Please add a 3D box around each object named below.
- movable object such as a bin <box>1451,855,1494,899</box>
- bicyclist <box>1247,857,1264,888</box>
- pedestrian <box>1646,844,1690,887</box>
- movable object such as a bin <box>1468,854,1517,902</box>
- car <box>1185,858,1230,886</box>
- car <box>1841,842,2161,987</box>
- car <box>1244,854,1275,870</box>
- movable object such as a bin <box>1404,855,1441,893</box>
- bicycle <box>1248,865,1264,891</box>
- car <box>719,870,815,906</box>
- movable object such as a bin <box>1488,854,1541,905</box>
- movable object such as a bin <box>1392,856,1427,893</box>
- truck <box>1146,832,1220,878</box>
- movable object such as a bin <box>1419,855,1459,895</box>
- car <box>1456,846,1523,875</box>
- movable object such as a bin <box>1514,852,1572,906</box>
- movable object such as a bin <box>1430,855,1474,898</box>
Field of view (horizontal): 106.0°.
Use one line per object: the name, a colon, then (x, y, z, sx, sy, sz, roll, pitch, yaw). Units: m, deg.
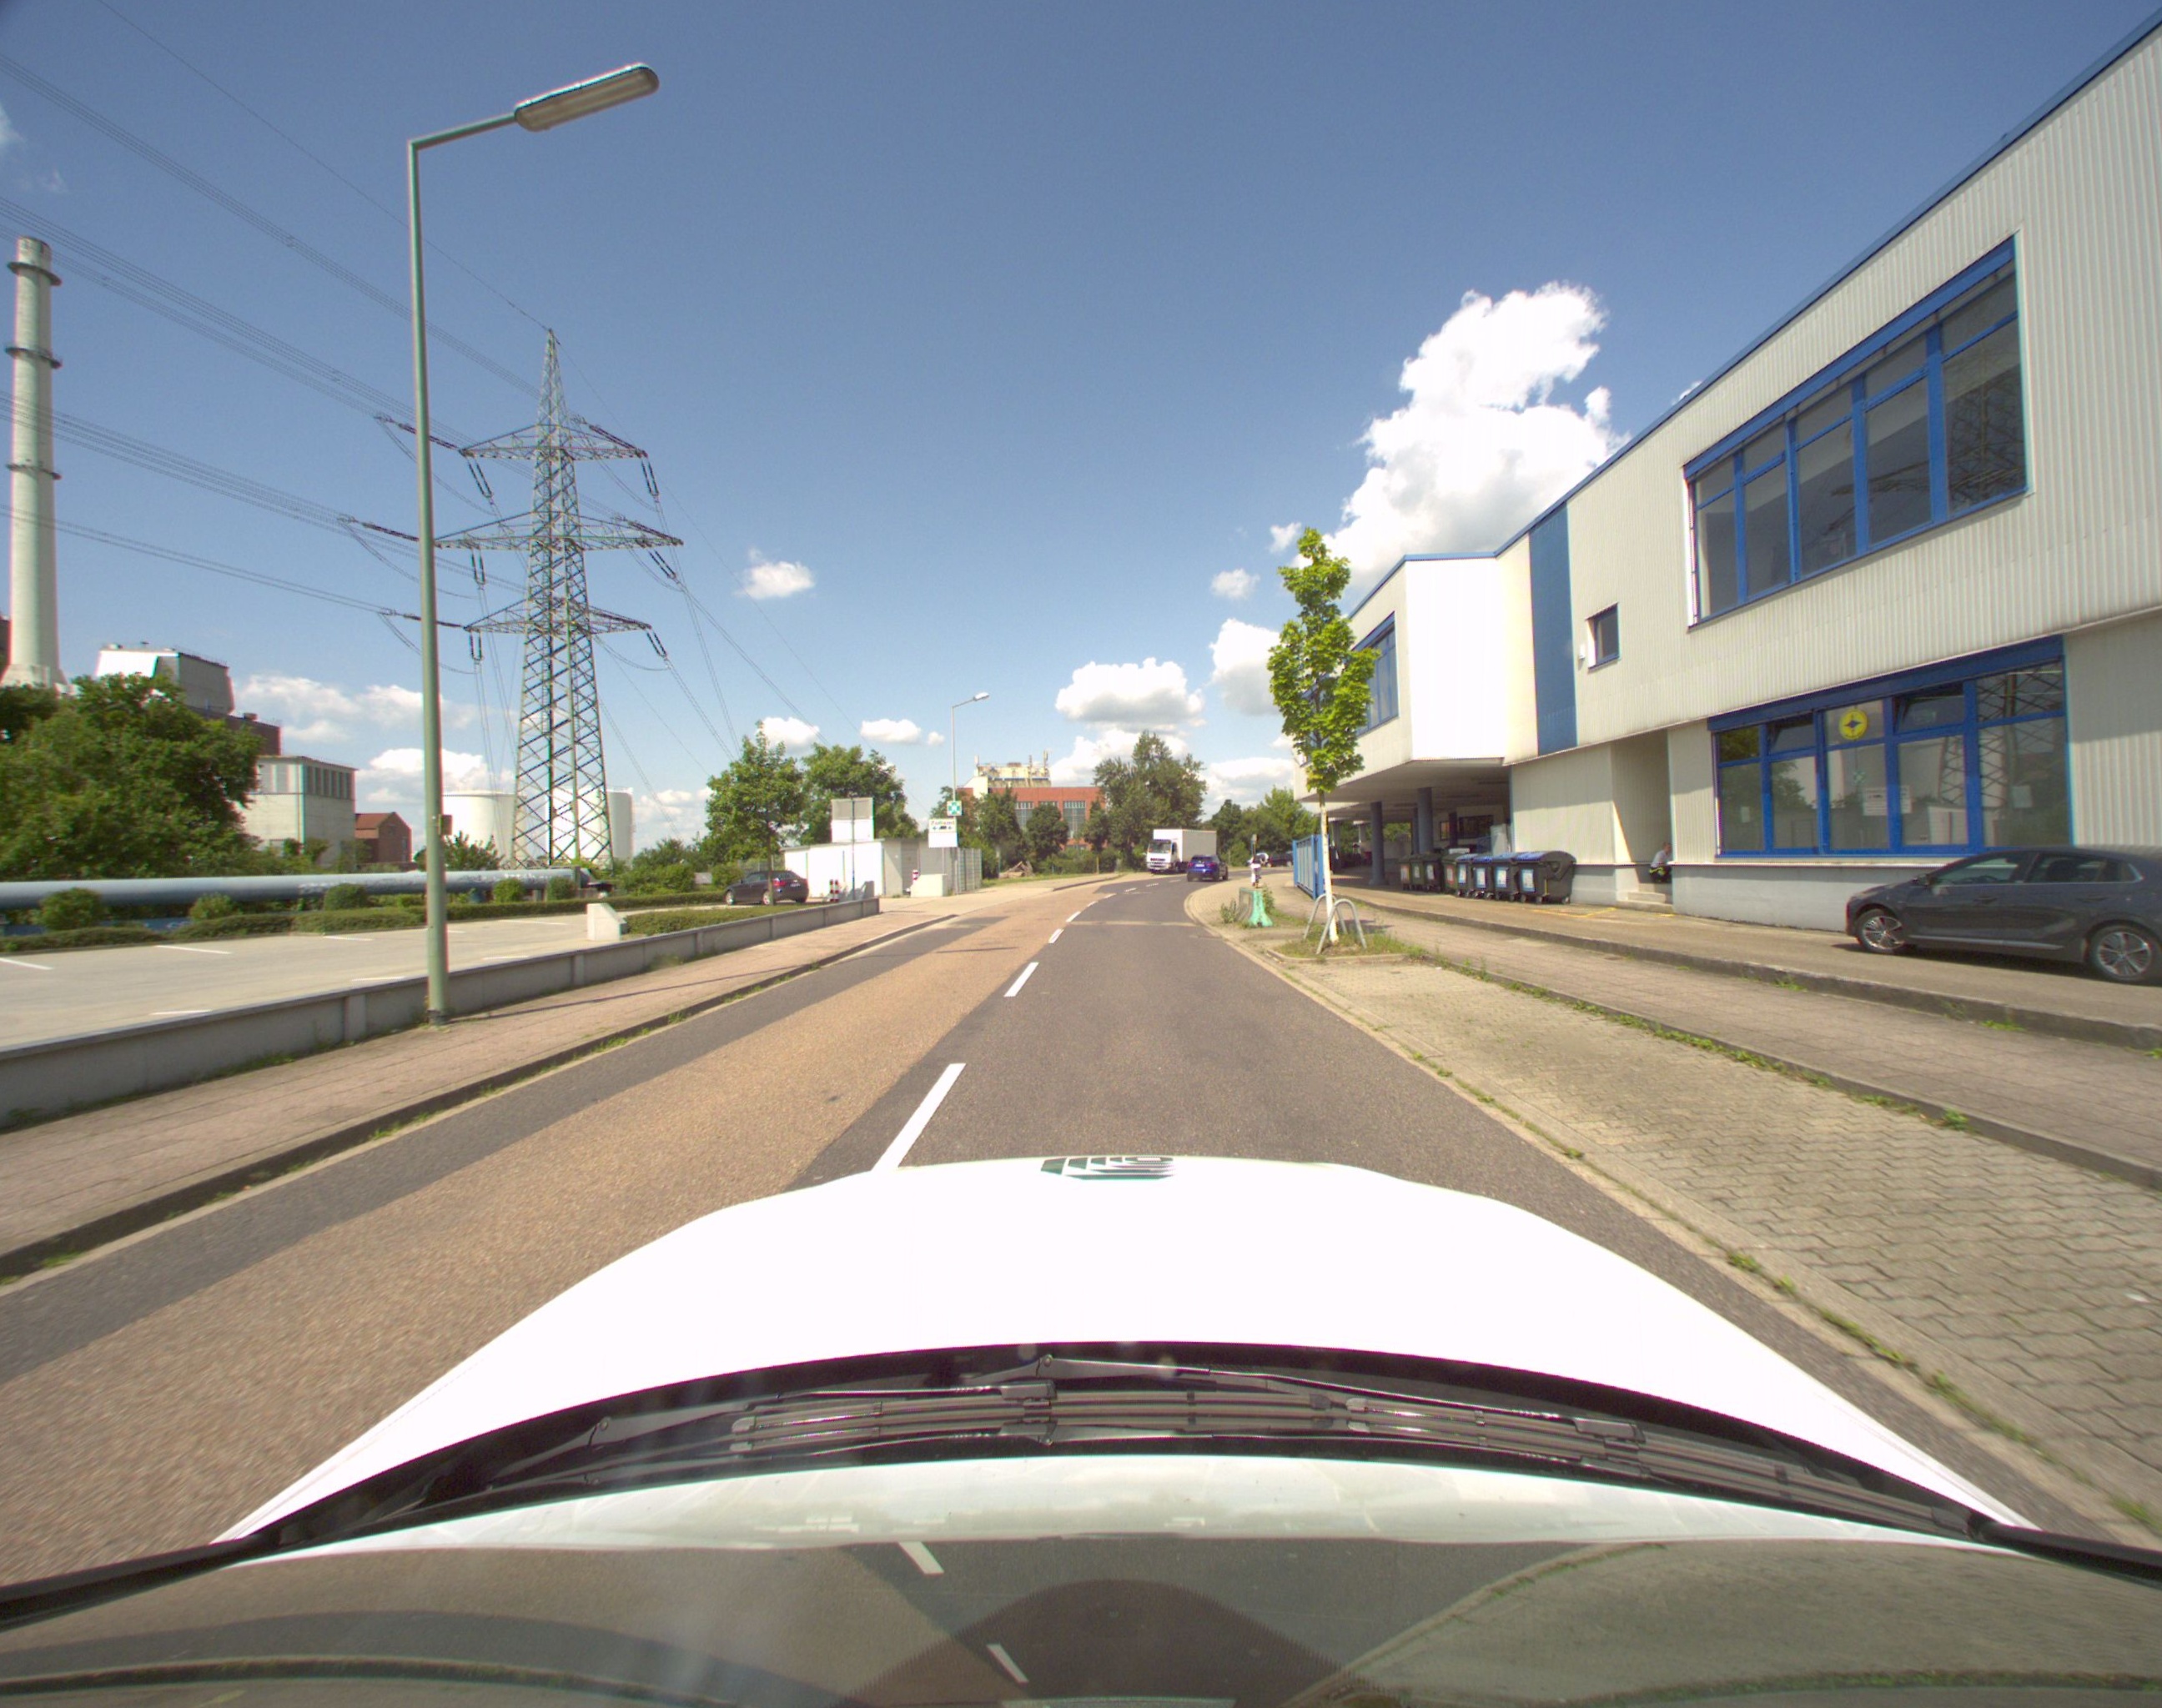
movable object such as a bin: (12.737, 0.742, 26.553, 0.801, 1.413, 1.174, -1, -1, 0)
bicyclist: (8.044, 0.858, 37.550, 0.658, 1.397, 0.861, -2, -1, 13)
pedestrian: (14.149, 0.281, 19.640, 0.562, 1.013, 0.711, 1, -1, 2)
movable object such as a bin: (12.727, 0.736, 25.232, 0.801, 1.413, 1.358, -1, -1, 1)
car: (7.975, 1.096, 51.110, 1.894, 1.593, 4.724, -2, -1, 19)
car: (11.277, 0.592, 9.385, 1.490, 1.403, 3.856, -1, -1, 2)
car: (18.370, 0.809, 83.878, 2.884, 1.570, 1.893, -2, -1, 5)
movable object such as a bin: (12.998, 0.758, 31.011, 0.801, 1.413, 1.357, -1, -1, 0)
bicycle: (8.035, 1.098, 37.392, 0.662, 1.109, 2.175, -2, -1, 13)
car: (-13.016, 1.415, 33.721, 3.948, 1.378, 1.815, -3, -1, 36)
movable object such as a bin: (12.644, 0.730, 23.796, 0.801, 1.413, 1.358, -1, -1, 1)
movable object such as a bin: (13.078, 0.818, 32.463, 0.801, 1.413, 1.357, -1, -1, 0)
truck: (8.638, 0.001, 67.622, 2.298, 3.567, 9.427, -1, 1, 32)
movable object such as a bin: (12.967, 0.744, 29.573, 0.801, 1.413, 1.405, -1, -1, 0)
car: (23.921, 0.365, 47.678, 3.675, 1.546, 1.825, -1, 0, -31)
movable object such as a bin: (12.613, 0.667, 22.263, 0.801, 1.413, 1.358, -1, -1, 1)
movable object such as a bin: (12.738, 0.773, 28.004, 0.801, 1.413, 1.427, -1, -1, 0)
